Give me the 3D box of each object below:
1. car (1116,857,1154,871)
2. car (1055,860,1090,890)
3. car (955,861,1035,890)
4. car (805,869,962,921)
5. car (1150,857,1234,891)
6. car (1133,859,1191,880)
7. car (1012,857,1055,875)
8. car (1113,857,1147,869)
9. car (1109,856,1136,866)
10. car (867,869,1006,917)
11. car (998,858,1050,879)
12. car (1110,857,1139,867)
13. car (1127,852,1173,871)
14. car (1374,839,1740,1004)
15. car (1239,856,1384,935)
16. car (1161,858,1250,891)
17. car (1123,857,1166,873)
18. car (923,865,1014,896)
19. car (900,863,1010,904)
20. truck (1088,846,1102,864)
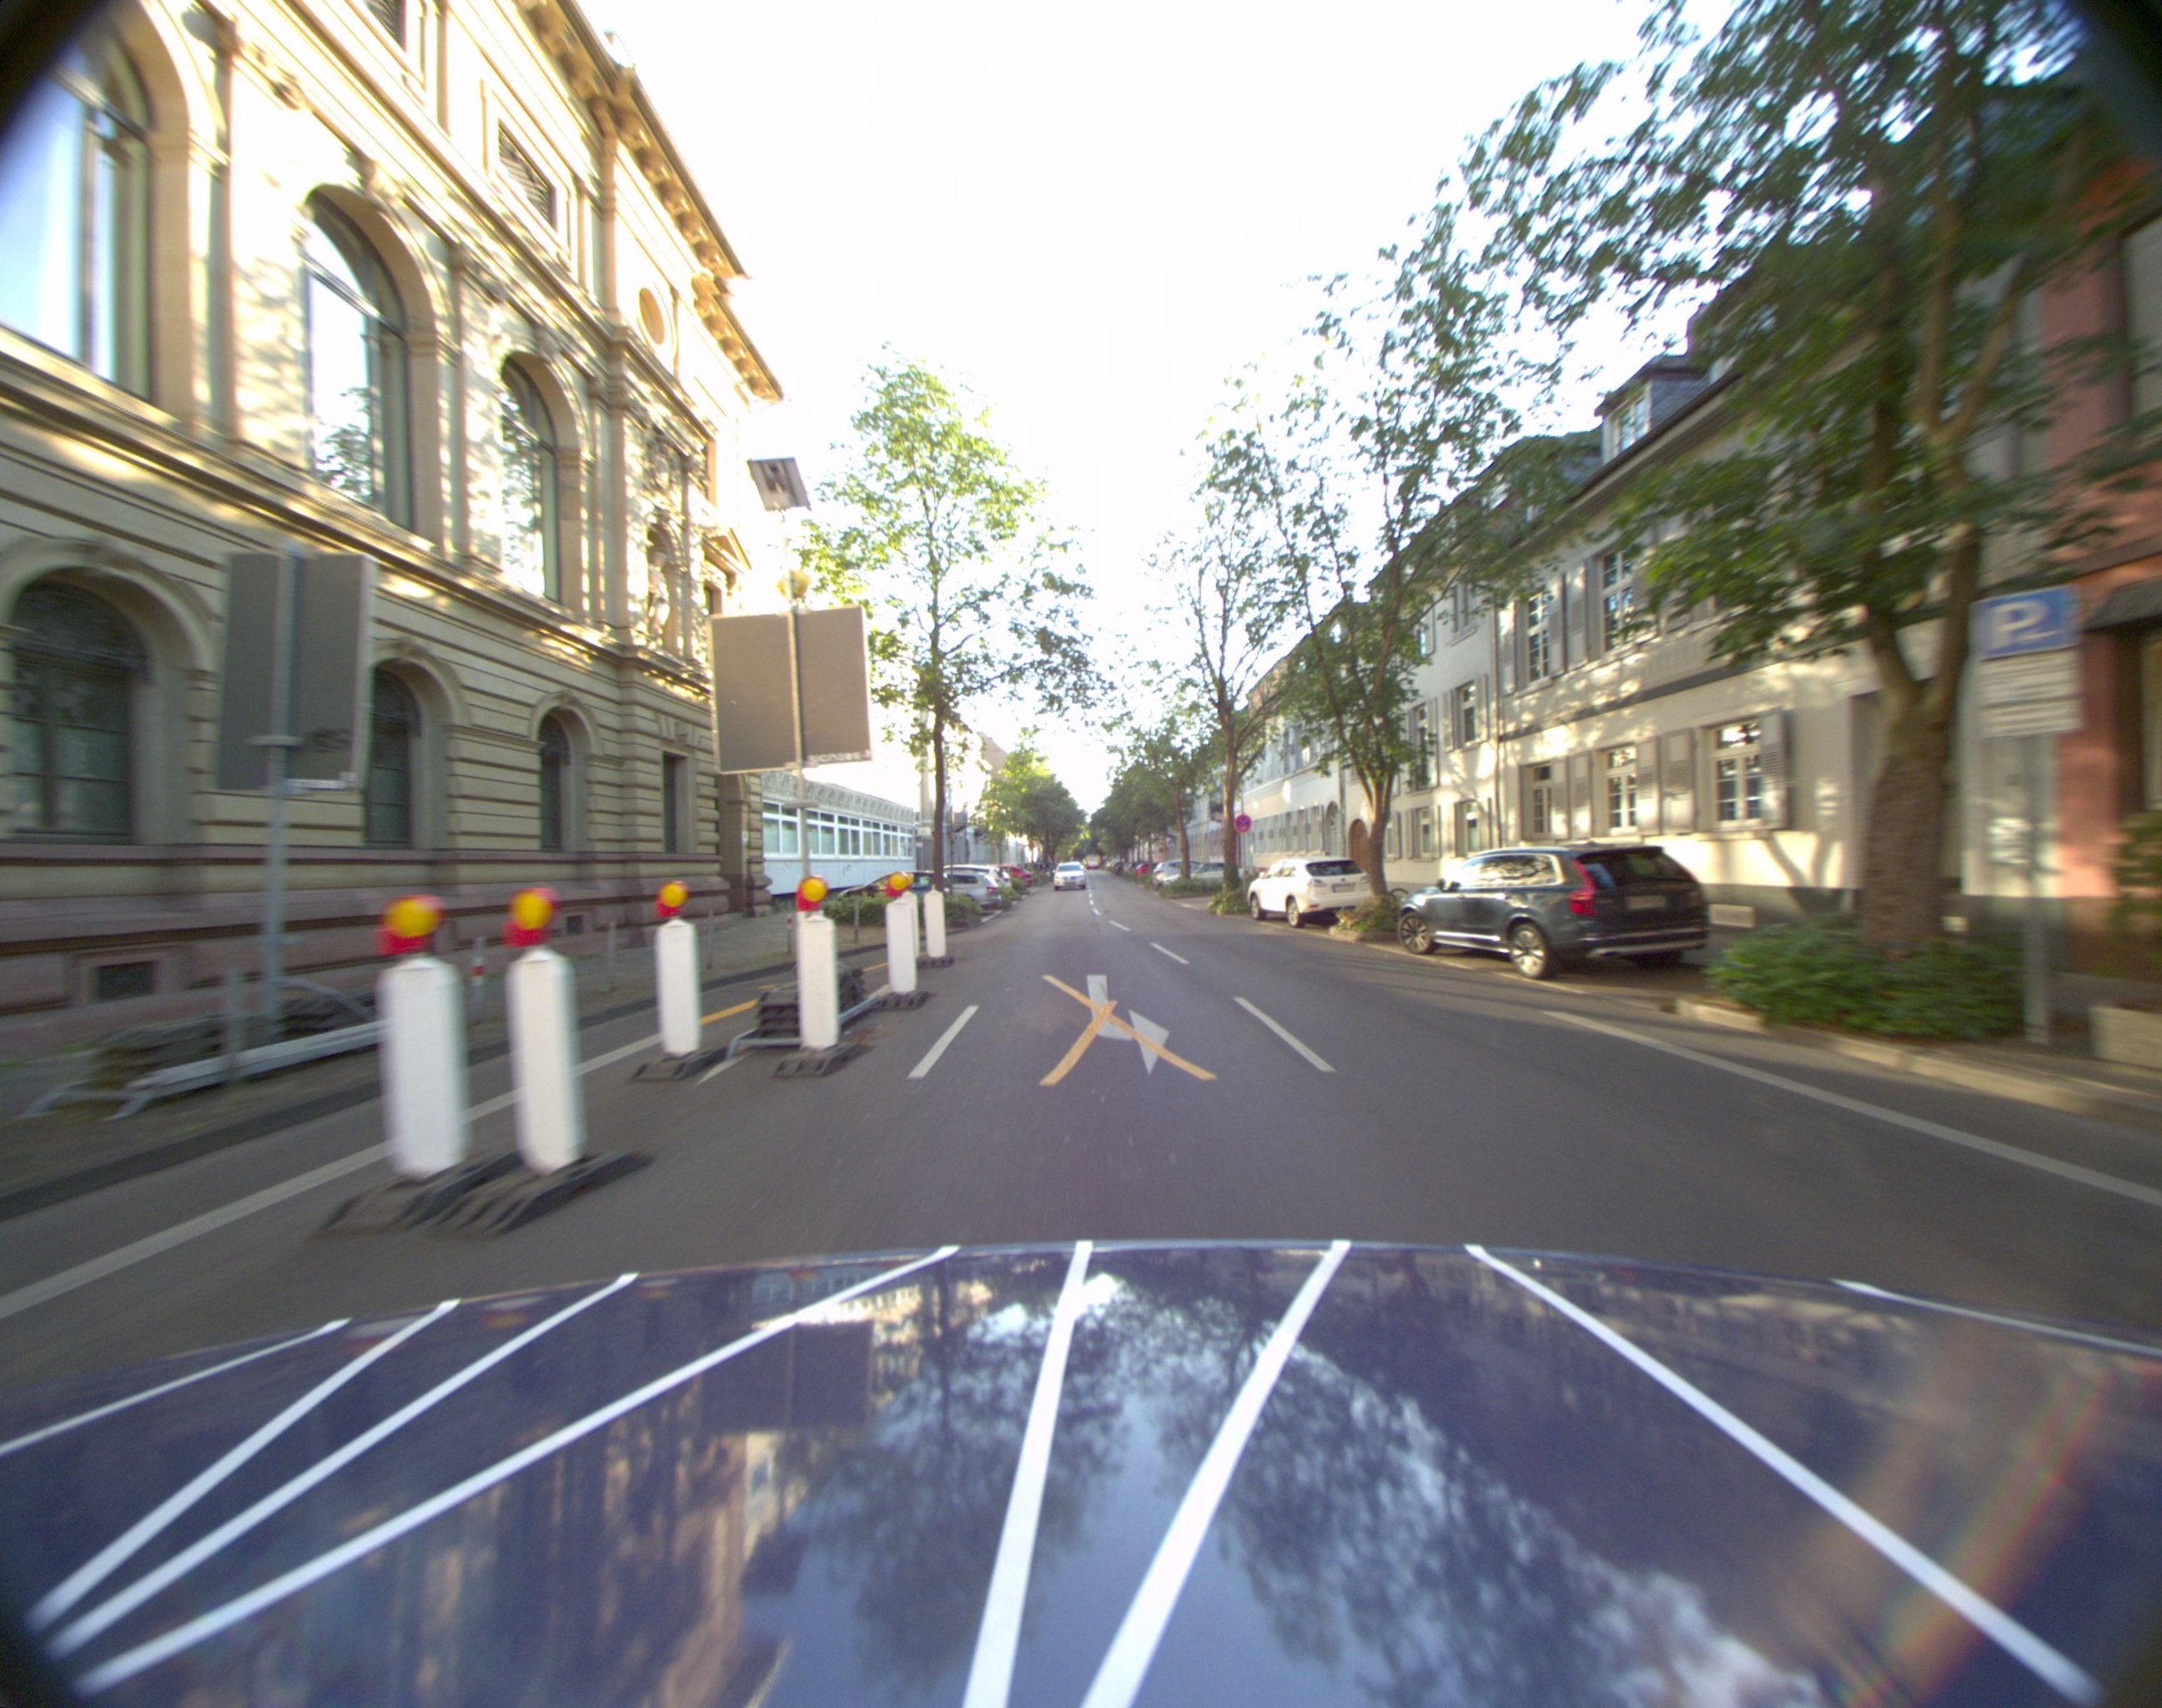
[{"bbox_3d":[6.335,1.197,89.142,4.230,1.468,1.853,-1,0,-2],"label":"car"},{"bbox_3d":[-0.456,1.222,45.839,1.957,1.667,4.543,-2,0,1],"label":"car"},{"bbox_3d":[-4.841,1.222,43.316,4.369,1.614,1.733,0,0,-2],"label":"car"},{"bbox_3d":[-5.934,1.222,23.300,4.369,1.455,1.833,1,0,-4],"label":"car"},{"bbox_3d":[5.980,1.067,41.273,4.230,1.680,1.800,-1,0,-2],"label":"car"},{"bbox_3d":[6.299,1.211,59.457,4.230,1.499,1.800,-1,0,-2],"label":"car"},{"bbox_3d":[-4.852,1.224,77.879,4.369,1.862,1.733,0,0,-2],"label":"car"},{"bbox_3d":[6.526,1.236,101.620,4.230,1.468,1.969,-1,0,-2],"label":"car"},{"bbox_3d":[6.741,1.165,124.096,4.230,1.508,1.969,-1,0,-2],"label":"car"},{"bbox_3d":[-4.857,1.317,25.925,4.368,1.486,1.672,1,0,0],"label":"car"},{"bbox_3d":[-4.937,1.240,66.240,4.369,1.768,1.733,0,0,-2],"label":"car"},{"bbox_3d":[6.629,1.195,115.611,4.230,1.468,1.969,-1,0,-2],"label":"car"},{"bbox_3d":[6.687,0.708,73.674,4.230,1.654,1.800,-1,0,-2],"label":"car"},{"bbox_3d":[6.558,0.797,11.399,1.833,1.749,5.046,-5,0,-6],"label":"car"},{"bbox_3d":[5.823,0.966,19.872,1.833,1.658,4.654,-5,0,-6],"label":"car"},{"bbox_3d":[6.262,1.037,38.536,4.228,1.536,1.801,-2,0,3],"label":"car"},{"bbox_3d":[6.486,1.145,78.333,4.230,1.509,1.759,-1,0,-2],"label":"car"},{"bbox_3d":[-5.605,1.330,38.308,4.369,1.484,1.887,0,0,-2],"label":"car"},{"bbox_3d":[-5.308,1.224,32.393,4.369,1.633,2.054,1,0,-2],"label":"car"},{"bbox_3d":[3.081,0.155,164.718,2.748,3.722,7.855,-1,0,2],"label":"truck"}]
